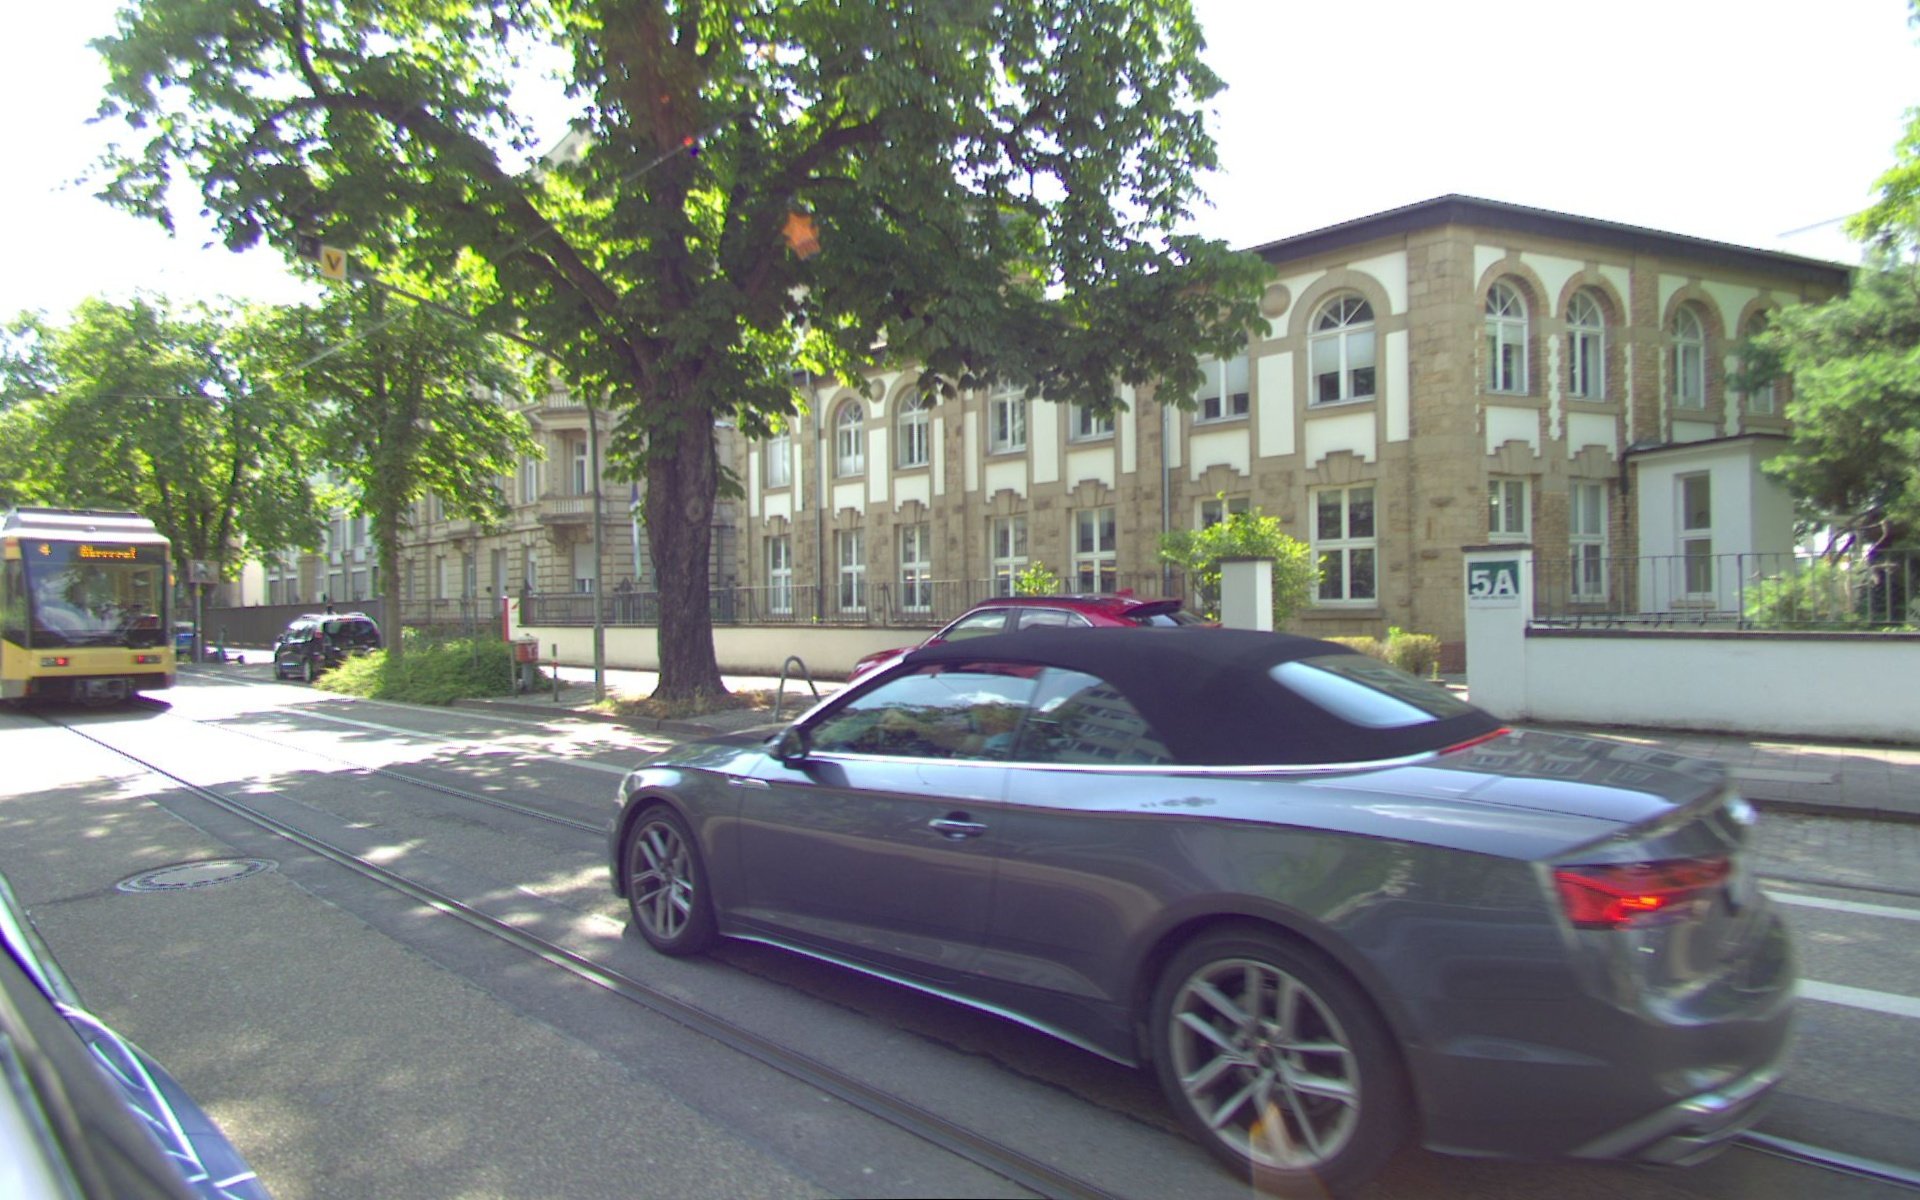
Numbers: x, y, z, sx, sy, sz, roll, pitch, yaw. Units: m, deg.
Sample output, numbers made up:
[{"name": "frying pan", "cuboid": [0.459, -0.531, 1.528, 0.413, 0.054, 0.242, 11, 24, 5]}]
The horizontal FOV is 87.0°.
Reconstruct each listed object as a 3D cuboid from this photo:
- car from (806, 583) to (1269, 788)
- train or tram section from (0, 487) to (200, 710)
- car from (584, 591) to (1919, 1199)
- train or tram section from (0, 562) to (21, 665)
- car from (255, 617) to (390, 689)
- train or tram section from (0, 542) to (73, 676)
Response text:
[{"name": "car", "cuboid": [0.612, 0.730, 10.617, 4.718, 1.678, 1.732, -1, 1, 41]}, {"name": "train or tram section", "cuboid": [-19.096, 0.108, 20.973, 14.105, 3.381, 2.624, -1, -3, 42]}, {"name": "car", "cuboid": [0.516, 0.735, 3.823, 4.424, 1.399, 1.780, -2, -1, 42]}, {"name": "train or tram section", "cuboid": [-37.348, 0.621, 37.444, 12.311, 3.463, 2.624, -3, -4, 42]}, {"name": "car", "cuboid": [-16.574, 1.307, 26.234, 4.330, 1.653, 1.788, -1, 1, 41]}, {"name": "train or tram section", "cuboid": [-28.535, 0.302, 29.506, 11.470, 3.415, 2.624, -1, -3, 42]}]
